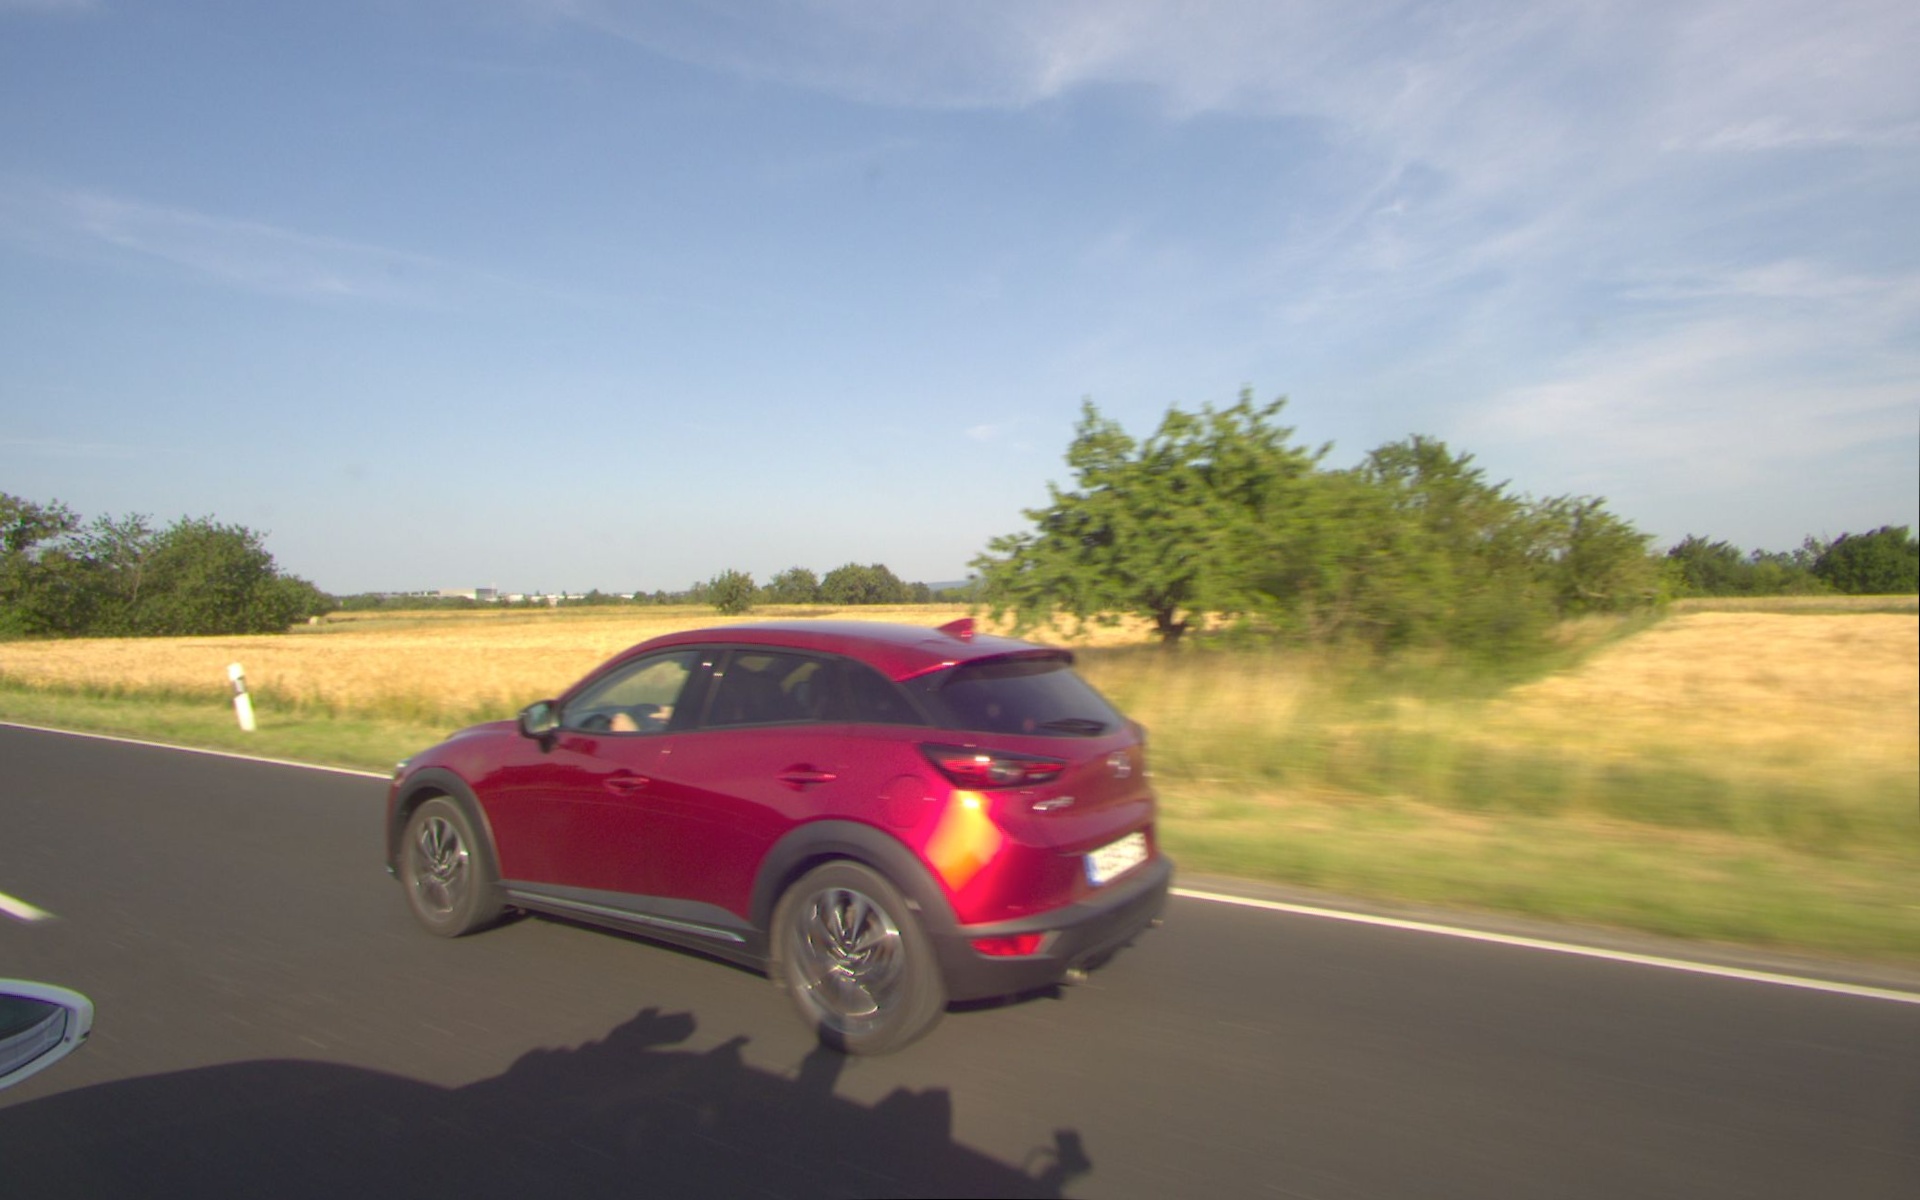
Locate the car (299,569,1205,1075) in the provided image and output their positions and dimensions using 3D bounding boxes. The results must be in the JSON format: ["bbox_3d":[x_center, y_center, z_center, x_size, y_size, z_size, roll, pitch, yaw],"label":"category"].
[{"bbox_3d":[-1.225,0.745,4.936,4.436,1.525,1.702,-2,-2,32],"label":"car"}]
